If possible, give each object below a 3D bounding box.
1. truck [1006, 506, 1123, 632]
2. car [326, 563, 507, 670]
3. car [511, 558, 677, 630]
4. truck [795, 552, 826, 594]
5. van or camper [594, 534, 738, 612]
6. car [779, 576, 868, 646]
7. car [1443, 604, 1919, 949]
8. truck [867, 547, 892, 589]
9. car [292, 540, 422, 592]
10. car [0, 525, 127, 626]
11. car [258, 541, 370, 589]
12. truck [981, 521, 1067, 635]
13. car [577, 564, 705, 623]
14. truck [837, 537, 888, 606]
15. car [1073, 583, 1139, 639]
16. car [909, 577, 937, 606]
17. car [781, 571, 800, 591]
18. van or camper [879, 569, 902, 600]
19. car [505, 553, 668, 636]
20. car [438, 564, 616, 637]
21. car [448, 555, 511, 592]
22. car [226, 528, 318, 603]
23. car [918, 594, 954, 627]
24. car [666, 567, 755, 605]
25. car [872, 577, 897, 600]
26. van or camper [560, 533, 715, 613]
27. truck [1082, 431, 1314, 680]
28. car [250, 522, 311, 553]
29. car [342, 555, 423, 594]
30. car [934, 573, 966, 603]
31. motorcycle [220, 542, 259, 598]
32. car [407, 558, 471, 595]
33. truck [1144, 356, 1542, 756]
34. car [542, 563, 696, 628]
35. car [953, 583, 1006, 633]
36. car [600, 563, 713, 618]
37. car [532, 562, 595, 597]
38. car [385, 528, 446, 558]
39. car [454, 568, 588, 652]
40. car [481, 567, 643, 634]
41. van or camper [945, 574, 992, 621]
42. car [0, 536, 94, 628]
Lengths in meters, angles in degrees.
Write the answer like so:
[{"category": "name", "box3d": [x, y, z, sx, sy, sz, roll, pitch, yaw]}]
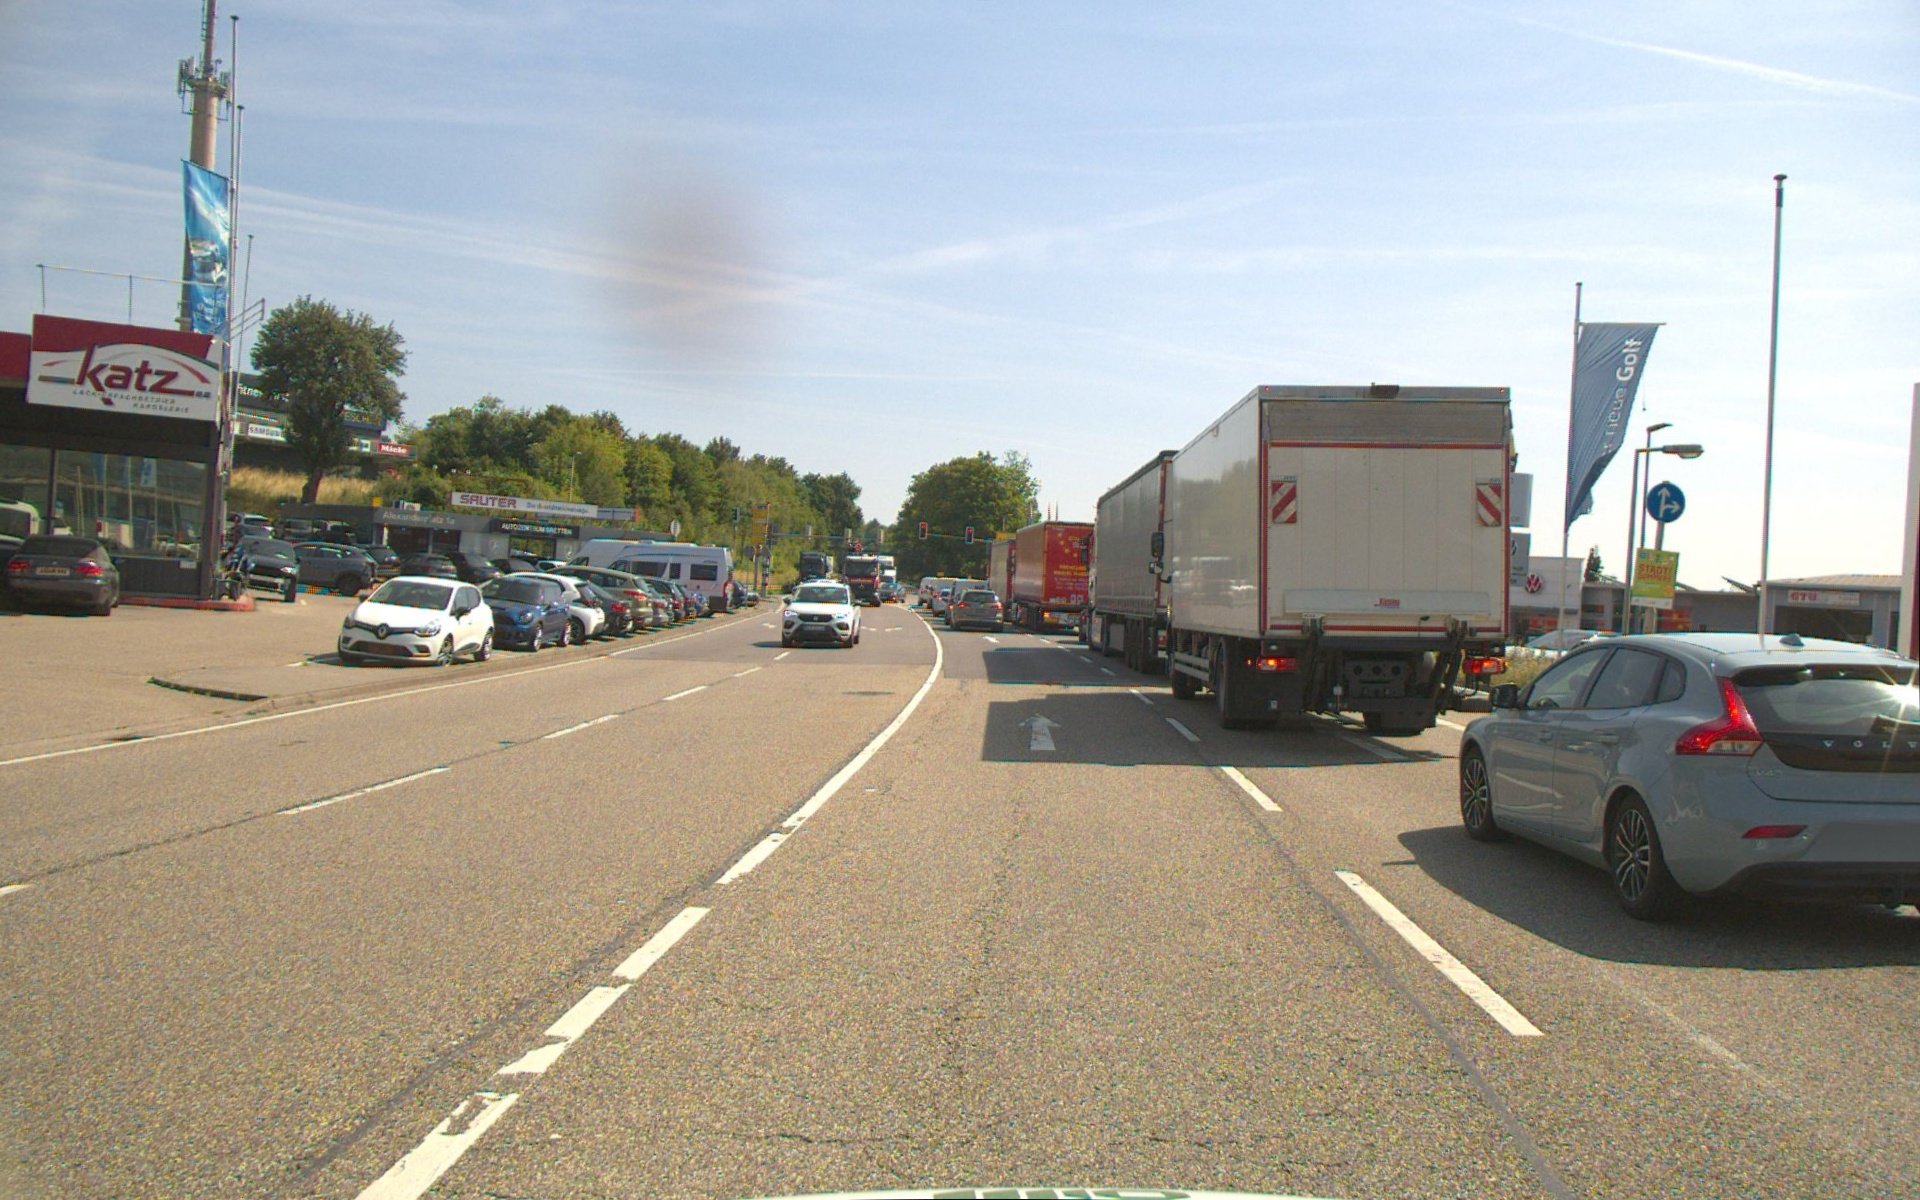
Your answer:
[{"category": "truck", "box3d": [3.960, -1.217, 67.190, 2.898, 4.344, 16.577, 3, 1, -2]}, {"category": "car", "box3d": [-9.335, 0.260, 28.755, 1.743, 1.646, 4.000, 3, 0, 0]}, {"category": "car", "box3d": [-10.265, -0.175, 46.590, 4.194, 1.510, 1.835, 6, 0, -4]}, {"category": "truck", "box3d": [-14.150, -2.527, 156.071, 2.759, 3.852, 6.981, 1, 1, -6]}, {"category": "van or camper", "box3d": [-11.426, -1.048, 64.563, 5.139, 2.779, 2.210, 3, 0, -1]}, {"category": "car", "box3d": [-3.460, 0.254, 42.629, 1.895, 1.703, 4.000, 1, 0, 1]}, {"category": "car", "box3d": [4.195, 0.802, 9.424, 1.699, 1.453, 4.226, 3, 0, 2]}, {"category": "truck", "box3d": [-8.729, -3.420, 179.912, 2.502, 4.382, 7.592, 1, 1, -2]}, {"category": "car", "box3d": [-20.098, -1.132, 55.127, 3.888, 1.559, 1.755, 2, 0, -26]}, {"category": "car", "box3d": [-16.965, -0.514, 31.236, 1.829, 1.530, 4.365, 5, 2, -24]}, {"category": "car", "box3d": [-24.211, -1.300, 61.992, 3.768, 1.616, 1.755, 2, 0, -25]}, {"category": "truck", "box3d": [3.170, -1.156, 87.824, 3.001, 5.311, 17.000, 3, 1, -2]}, {"category": "car", "box3d": [-10.388, -0.216, 54.103, 3.770, 1.510, 1.801, 6, 0, -4]}, {"category": "truck", "box3d": [-6.367, -1.838, 109.347, 2.896, 4.282, 10.645, 0, 1, -1]}, {"category": "car", "box3d": [4.745, 0.338, 54.313, 1.781, 1.714, 4.000, 2, 1, 0]}, {"category": "car", "box3d": [-2.524, -0.572, 114.048, 1.691, 1.942, 3.312, 3, 0, 1]}, {"category": "car", "box3d": [-19.048, -2.111, 185.624, 1.956, 2.049, 3.994, 3, 0, -7]}, {"category": "van or camper", "box3d": [-6.995, -1.548, 166.185, 2.180, 2.890, 5.708, 3, 0, -2]}, {"category": "car", "box3d": [-9.872, -0.141, 43.952, 3.811, 1.746, 1.805, 6, 0, -4]}, {"category": "car", "box3d": [-10.135, 0.005, 38.926, 3.721, 1.552, 1.845, 2, 0, -4]}, {"category": "car", "box3d": [-22.910, -1.275, 78.815, 1.749, 1.616, 3.783, 2, 1, -35]}, {"category": "car", "box3d": [-18.455, -0.895, 44.271, 1.800, 1.703, 4.092, 8, -3, -26]}, {"category": "car", "box3d": [-1.204, 0.505, 82.780, 1.692, 1.545, 3.311, 3, 0, -1]}, {"category": "car", "box3d": [-11.215, -0.628, 74.591, 3.741, 1.566, 1.841, 2, 0, -3]}, {"category": "car", "box3d": [-5.655, -0.880, 124.629, 1.770, 1.587, 4.386, 2, 1, -2]}, {"category": "van or camper", "box3d": [-13.001, -1.095, 66.995, 5.774, 2.923, 2.289, 3, 1, -2]}, {"category": "truck", "box3d": [4.867, -0.853, 37.891, 2.831, 4.340, 16.710, 2, 0, 0]}, {"category": "car", "box3d": [-35.611, -3.264, 86.612, 1.722, 1.476, 3.691, 3, 0, -43]}, {"category": "car", "box3d": [-26.477, -1.177, 75.810, 3.756, 1.616, 1.761, 2, 1, 38]}, {"category": "car", "box3d": [-0.557, -0.672, 91.622, 1.692, 1.545, 3.312, 3, 0, 0]}, {"category": "motorcycle", "box3d": [-17.434, -0.724, 40.055, 0.759, 1.283, 2.041, 2, 0, -22]}, {"category": "car", "box3d": [-24.065, -1.105, 76.399, 1.749, 1.616, 3.783, 2, 1, -35]}, {"category": "truck", "box3d": [4.439, -0.474, 22.055, 2.820, 3.877, 11.143, 2, 0, 1]}, {"category": "car", "box3d": [-10.585, -0.142, 51.637, 4.373, 1.510, 1.771, 6, 0, -4]}, {"category": "car", "box3d": [0.707, 0.258, 58.972, 1.753, 1.667, 3.504, 2, 0, 1]}, {"category": "car", "box3d": [-10.793, -0.342, 58.963, 3.636, 1.510, 1.706, 6, 0, -4]}, {"category": "car", "box3d": [-19.496, -1.028, 81.243, 1.749, 1.616, 3.783, 2, 1, -35]}, {"category": "car", "box3d": [-29.178, -3.040, 88.586, 1.722, 1.476, 3.691, 3, 0, -43]}, {"category": "car", "box3d": [-9.391, 0.191, 35.666, 1.744, 1.519, 3.781, 6, 0, 0]}, {"category": "car", "box3d": [-9.934, 0.000, 41.496, 3.634, 1.552, 1.791, 2, 0, -4]}, {"category": "van or camper", "box3d": [0.356, -0.119, 73.503, 1.815, 1.939, 3.783, 3, 1, -3]}, {"category": "car", "box3d": [-20.332, -0.427, 36.737, 1.679, 1.789, 3.730, 6, -1, -26]}]
